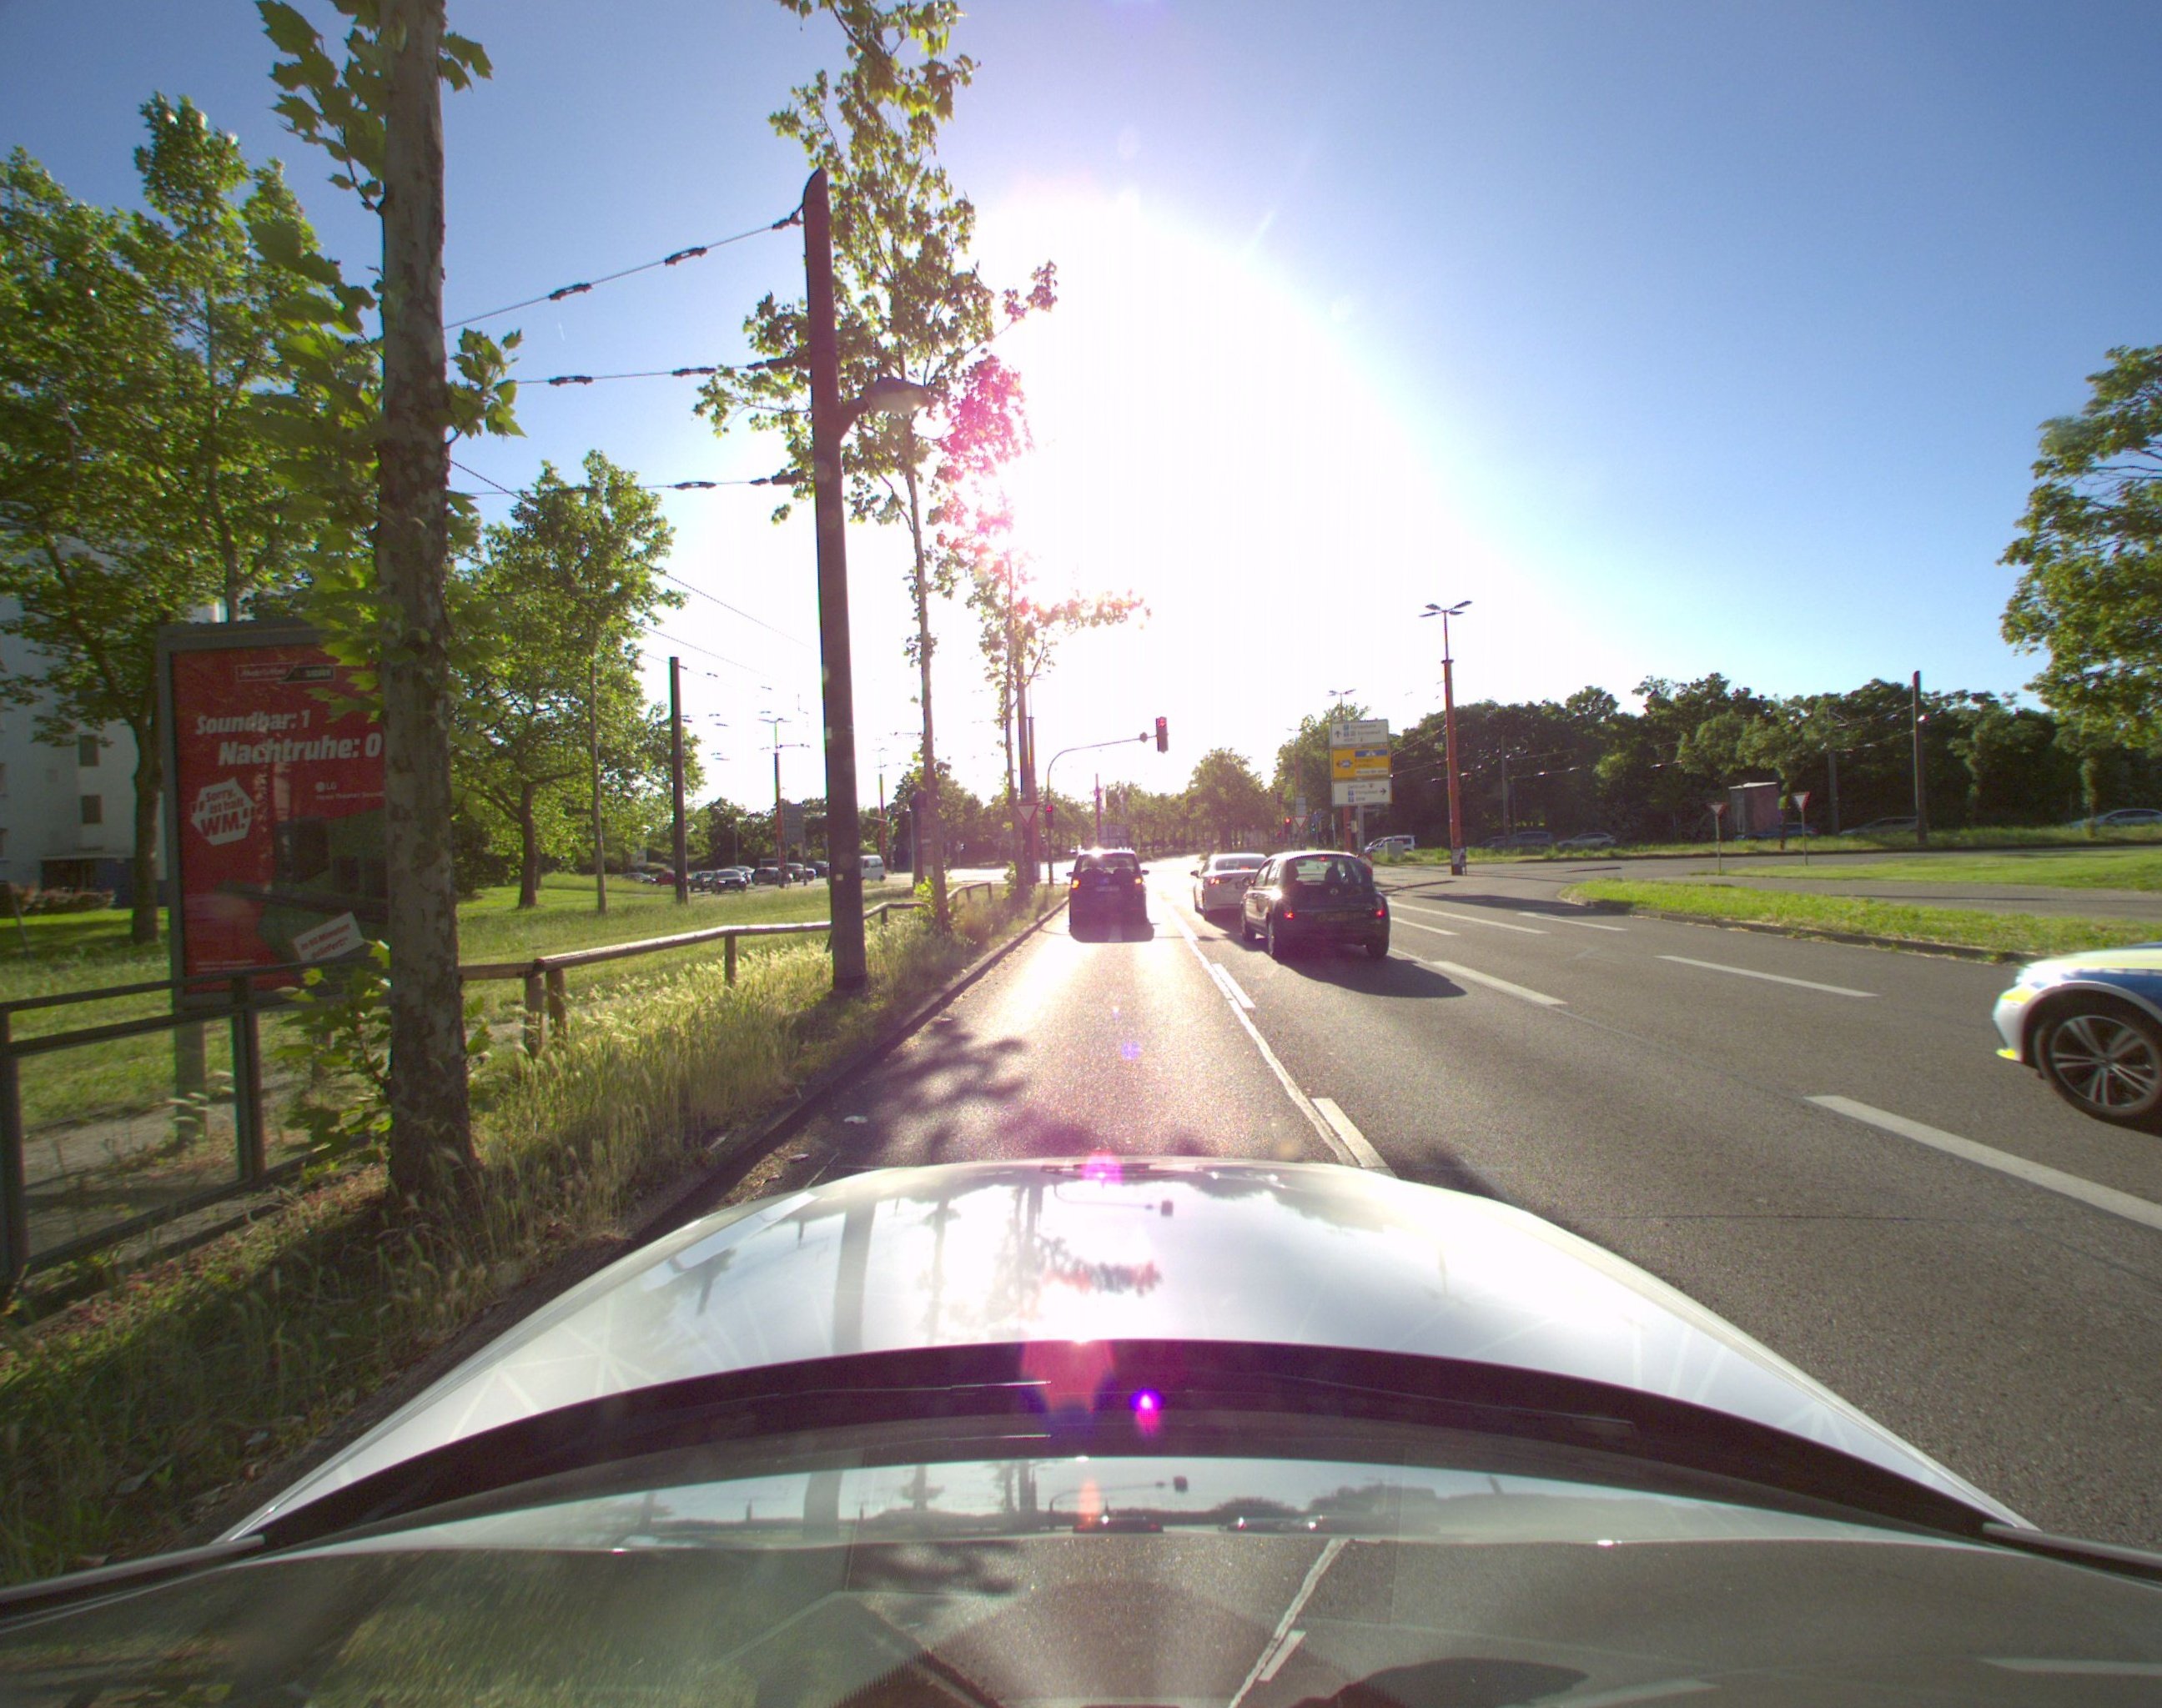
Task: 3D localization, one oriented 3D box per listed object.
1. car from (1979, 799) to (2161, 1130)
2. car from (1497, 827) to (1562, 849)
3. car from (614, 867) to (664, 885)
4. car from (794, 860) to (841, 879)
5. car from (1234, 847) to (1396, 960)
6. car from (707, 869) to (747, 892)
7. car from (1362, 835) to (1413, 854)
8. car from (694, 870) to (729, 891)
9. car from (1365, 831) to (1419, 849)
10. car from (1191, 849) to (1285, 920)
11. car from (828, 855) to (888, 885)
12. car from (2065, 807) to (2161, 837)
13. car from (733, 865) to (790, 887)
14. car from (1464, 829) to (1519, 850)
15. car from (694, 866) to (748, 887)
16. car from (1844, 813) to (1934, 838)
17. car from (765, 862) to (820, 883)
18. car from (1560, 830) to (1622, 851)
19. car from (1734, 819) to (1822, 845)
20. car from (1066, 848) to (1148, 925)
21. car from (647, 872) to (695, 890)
[{"bbox_3d":[6.164,0.533,2.564,1.885,1.632,4.506,-1,0,4],"label":"car"},{"bbox_3d":[34.439,-1.213,62.656,4.310,1.559,1.883,-1,0,27],"label":"car"},{"bbox_3d":[-44.530,2.175,82.085,4.447,1.610,1.911,-2,3,21],"label":"car"},{"bbox_3d":[-26.392,1.583,81.578,3.952,1.620,1.911,-3,2,21],"label":"car"},{"bbox_3d":[3.507,0.662,12.827,1.632,1.494,3.505,-1,0,2],"label":"car"},{"bbox_3d":[-24.895,1.822,57.162,1.907,1.543,4.454,-1,0,-33],"label":"car"},{"bbox_3d":[26.607,-0.801,70.659,3.949,1.476,1.800,-1,0,28],"label":"car"},{"bbox_3d":[-28.948,2.071,63.701,1.907,1.543,4.454,-1,0,-33],"label":"car"},{"bbox_3d":[25.787,-1.118,67.539,3.949,1.338,1.739,-1,0,28],"label":"car"},{"bbox_3d":[3.612,0.657,19.397,1.671,1.475,4.135,-1,0,4],"label":"car"},{"bbox_3d":[-13.895,0.981,51.050,1.812,1.780,4.579,-1,0,9],"label":"car"},{"bbox_3d":[61.257,-1.866,47.869,3.949,1.581,1.884,-1,-1,30],"label":"car"},{"bbox_3d":[-28.006,1.918,71.398,4.446,1.610,1.911,-3,2,21],"label":"car"},{"bbox_3d":[33.576,-1.138,66.587,3.949,1.561,1.911,-1,0,29],"label":"car"},{"bbox_3d":[-33.186,2.088,75.051,4.446,1.610,1.911,-3,2,21],"label":"car"},{"bbox_3d":[55.022,-1.890,55.545,3.949,1.528,1.872,-1,-1,29],"label":"car"},{"bbox_3d":[-26.406,1.688,74.645,4.446,1.610,1.911,-3,2,21],"label":"car"},{"bbox_3d":[39.570,-1.058,63.281,3.949,1.495,1.872,-1,0,29],"label":"car"},{"bbox_3d":[47.553,-1.472,55.669,4.220,1.627,1.941,-1,-1,29],"label":"car"},{"bbox_3d":[0.612,0.698,18.977,1.704,1.603,3.351,-1,0,2],"label":"car"},{"bbox_3d":[-39.086,2.568,77.671,4.000,1.436,1.825,-3,2,21],"label":"car"}]
